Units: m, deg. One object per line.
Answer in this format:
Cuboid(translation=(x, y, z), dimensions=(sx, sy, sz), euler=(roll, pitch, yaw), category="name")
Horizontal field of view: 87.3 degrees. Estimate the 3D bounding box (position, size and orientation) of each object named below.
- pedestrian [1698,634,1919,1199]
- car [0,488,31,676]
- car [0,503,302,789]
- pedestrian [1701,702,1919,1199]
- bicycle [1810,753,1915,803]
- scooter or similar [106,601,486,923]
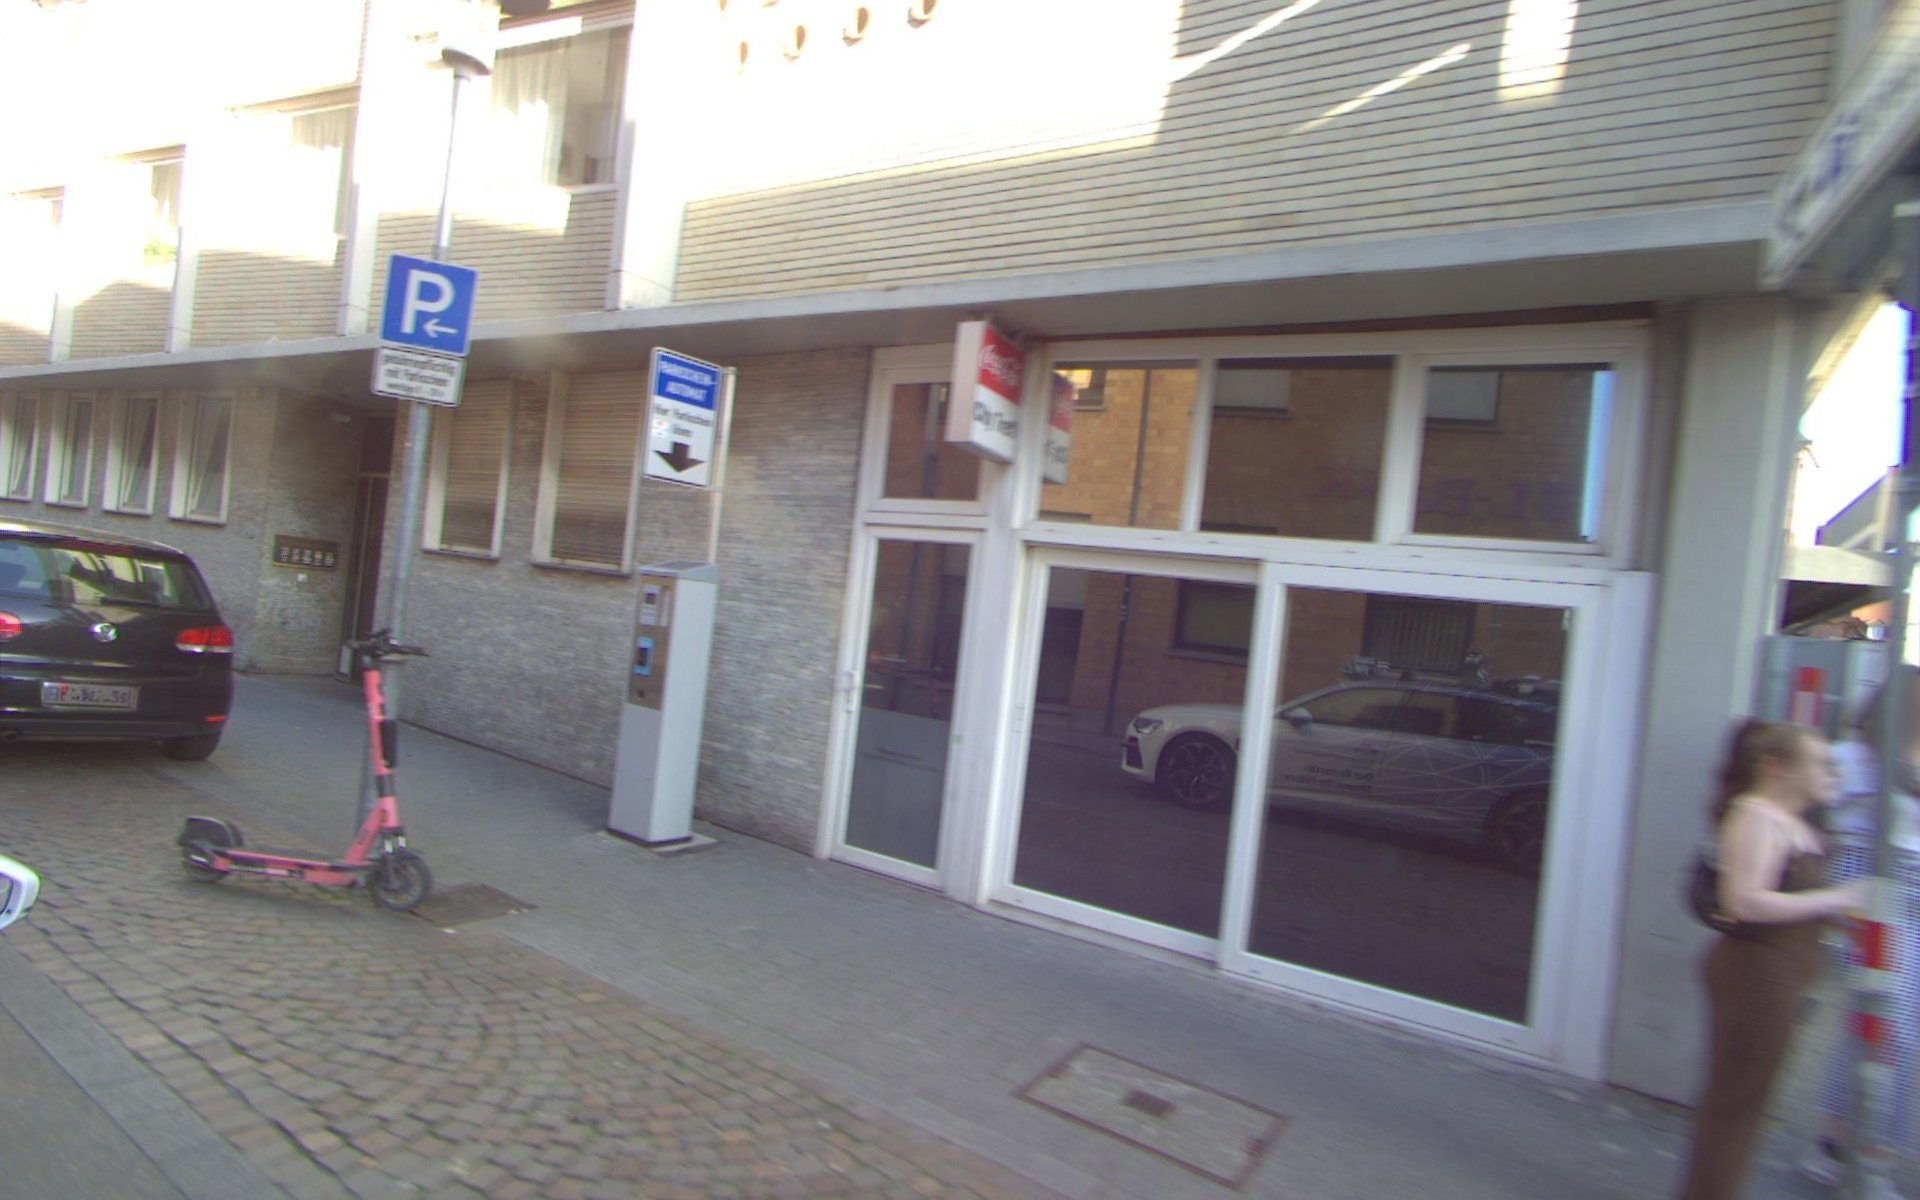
Cuboid(translation=(3.066, 1.032, 3.316), dimensions=(0.617, 1.757, 0.621), euler=(7, 0, -14), category="pedestrian")
Cuboid(translation=(-11.288, -0.484, 9.803), dimensions=(4.764, 1.720, 1.998), euler=(6, -3, 33), category="car")
Cuboid(translation=(-6.776, 0.116, 7.031), dimensions=(4.525, 1.520, 1.827), euler=(6, -4, 33), category="car")
Cuboid(translation=(2.357, 1.087, 2.716), dimensions=(0.435, 1.561, 0.571), euler=(7, 2, 41), category="pedestrian")
Cuboid(translation=(26.704, 5.254, 29.821), dimensions=(2.135, 0.995, 0.814), euler=(8, 0, 37), category="bicycle")
Cuboid(translation=(-2.954, 0.691, 4.532), dimensions=(1.282, 1.208, 0.494), euler=(7, 0, 4), category="scooter or similar")
